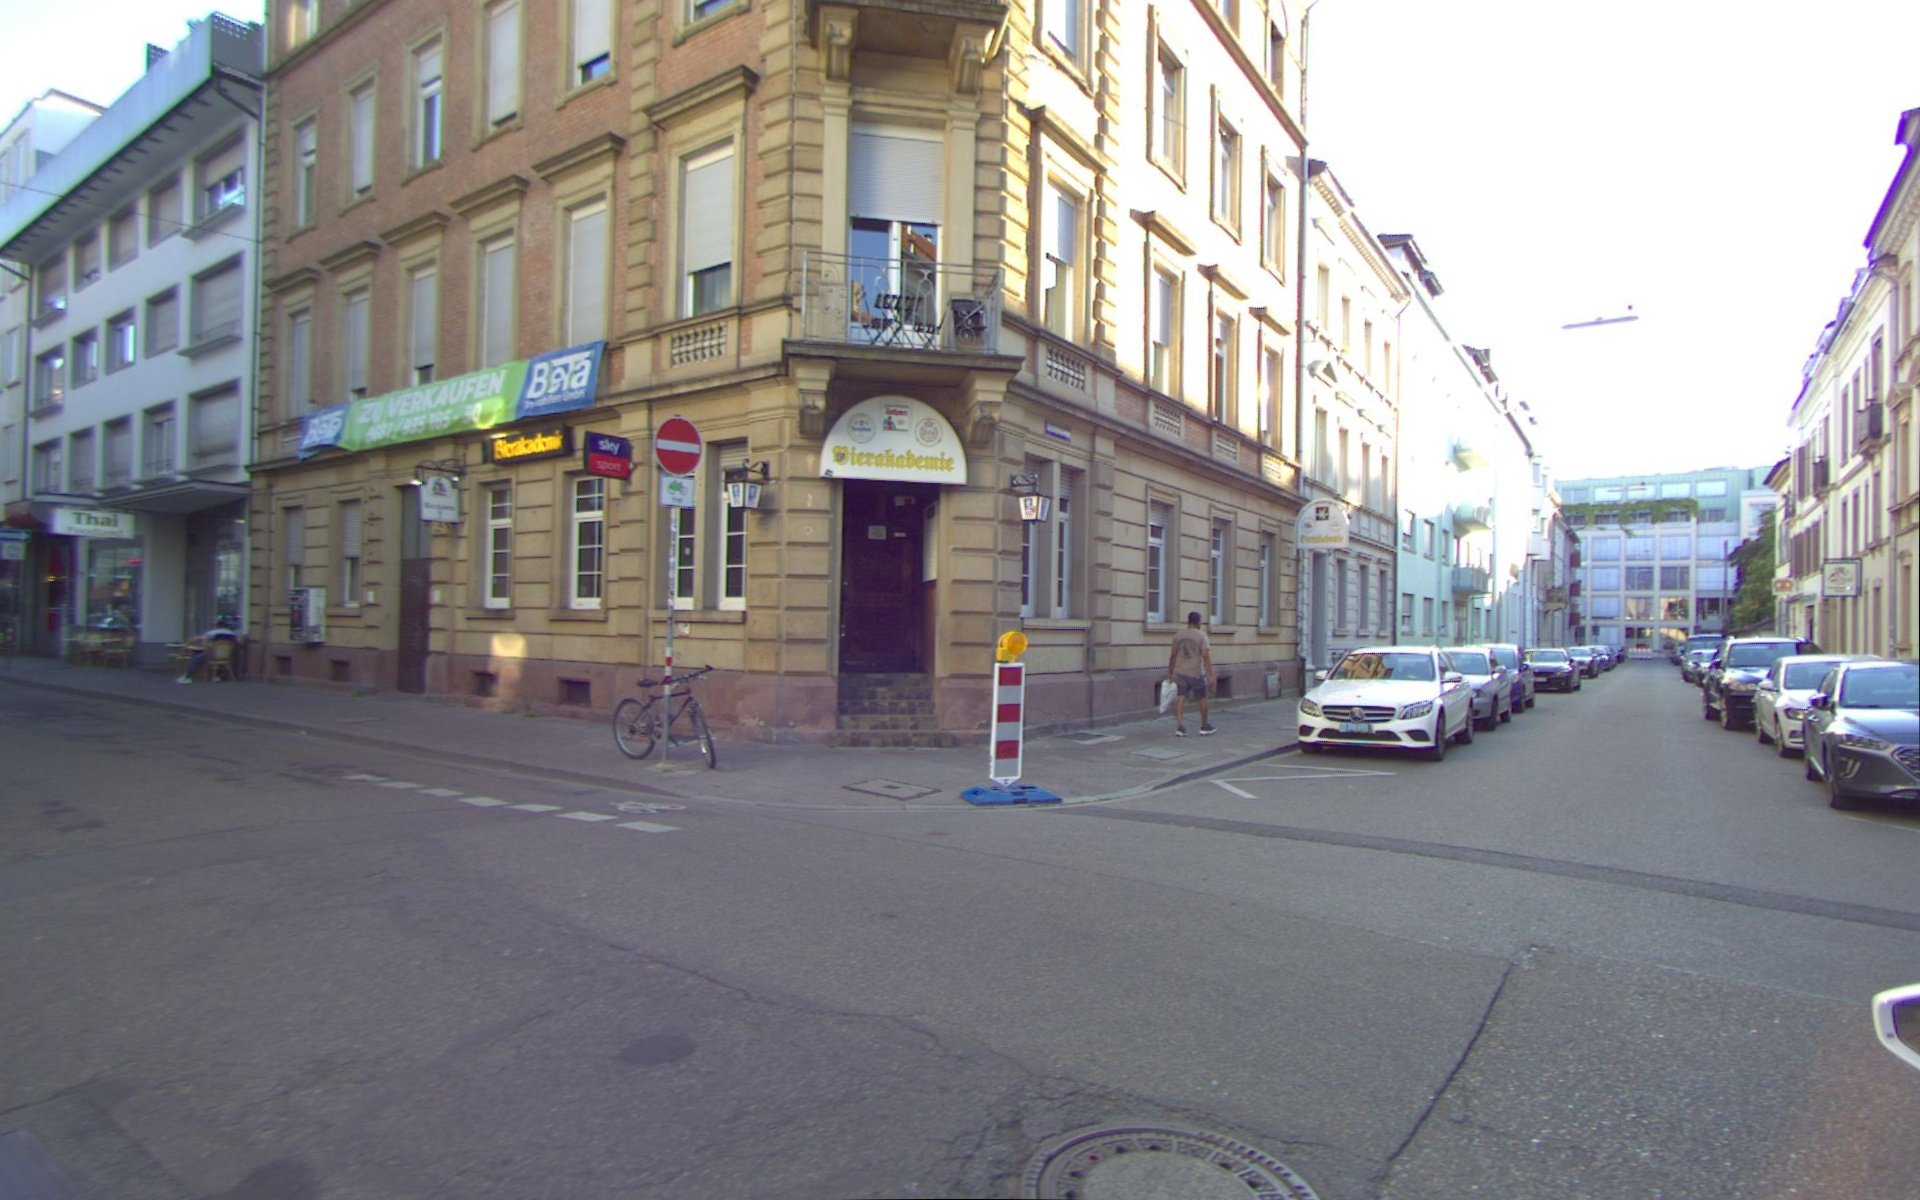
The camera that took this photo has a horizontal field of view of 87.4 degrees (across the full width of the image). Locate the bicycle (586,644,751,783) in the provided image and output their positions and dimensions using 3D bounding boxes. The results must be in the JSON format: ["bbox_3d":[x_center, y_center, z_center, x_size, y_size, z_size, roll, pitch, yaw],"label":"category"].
[{"bbox_3d":[-3.070,1.142,10.545,1.733,1.292,0.659,0,1,32],"label":"bicycle"}]

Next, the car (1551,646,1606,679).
[{"bbox_3d":[29.328,2.940,47.583,2.143,1.436,3.990,-1,-2,33],"label":"car"}]

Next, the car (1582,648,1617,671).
[{"bbox_3d":[39.175,3.628,61.479,1.684,1.319,3.988,-1,-2,34],"label":"car"}]

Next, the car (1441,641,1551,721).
[{"bbox_3d":[12.662,1.821,23.629,1.762,1.680,3.803,-1,-2,37],"label":"car"}]

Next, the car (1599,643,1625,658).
[{"bbox_3d":[59.468,4.592,91.663,1.966,1.326,3.872,-1,-2,33],"label":"car"}]

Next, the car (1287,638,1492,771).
[{"bbox_3d":[6.338,1.349,14.516,1.966,1.585,4.494,-1,-2,33],"label":"car"}]

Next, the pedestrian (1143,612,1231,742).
[{"bbox_3d":[3.306,1.087,14.555,0.966,1.765,1.015,2,-1,27],"label":"pedestrian"}]

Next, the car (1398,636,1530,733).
[{"bbox_3d":[9.524,1.495,18.845,1.604,1.597,3.740,-1,-2,37],"label":"car"}]

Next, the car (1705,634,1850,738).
[{"bbox_3d":[16.057,1.606,19.916,1.868,1.808,3.988,-1,-2,34],"label":"car"}]

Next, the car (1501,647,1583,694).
[{"bbox_3d":[19.204,2.276,33.053,1.967,1.372,4.415,-1,-2,35],"label":"car"}]

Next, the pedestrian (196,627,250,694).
[{"bbox_3d":[-15.505,1.260,21.150,0.830,1.357,0.798,2,-2,-34],"label":"pedestrian"}]

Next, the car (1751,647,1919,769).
[{"bbox_3d":[13.365,1.517,15.192,1.937,1.577,3.877,-1,-2,35],"label":"car"}]

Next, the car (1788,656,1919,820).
[{"bbox_3d":[9.923,1.292,10.220,1.912,1.390,3.778,-3,-3,34],"label":"car"}]
